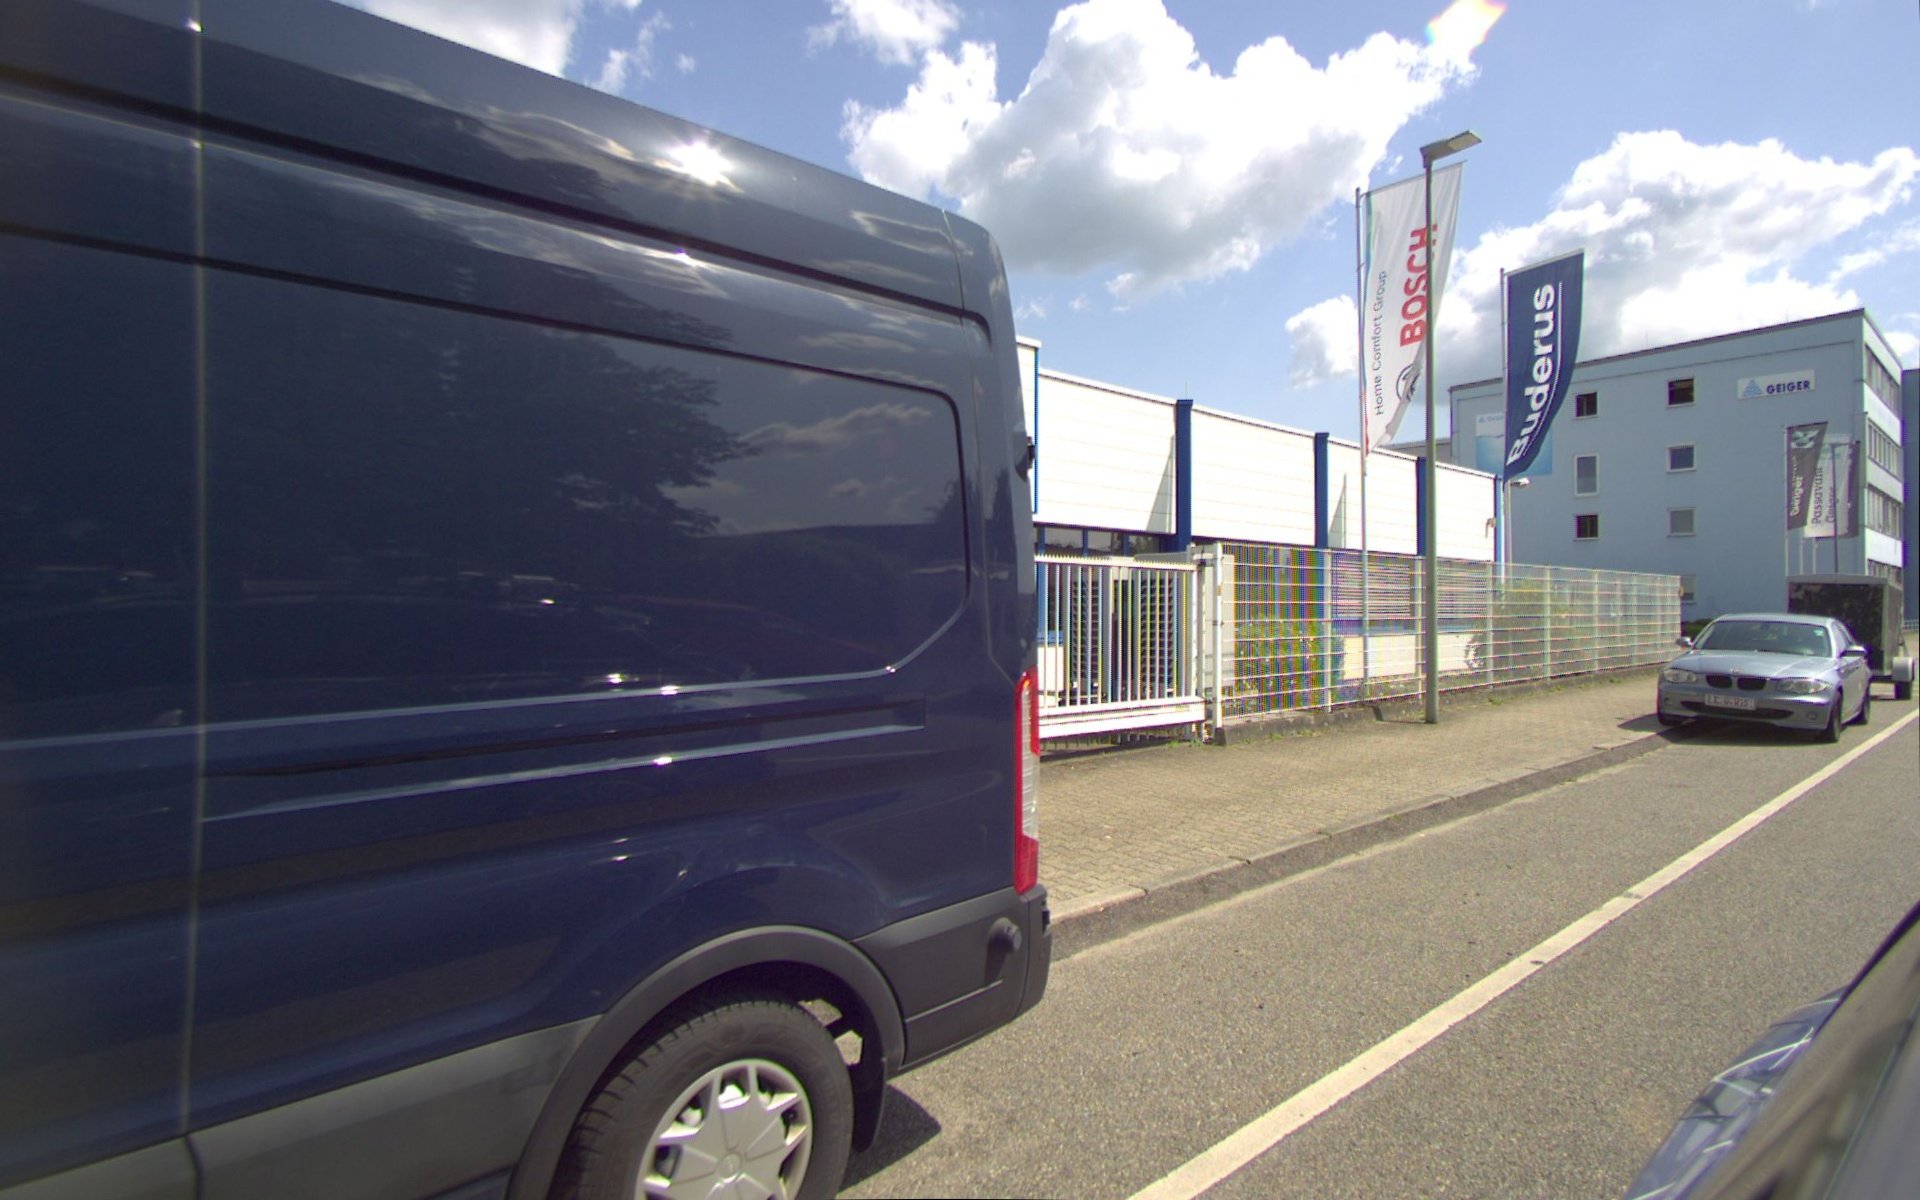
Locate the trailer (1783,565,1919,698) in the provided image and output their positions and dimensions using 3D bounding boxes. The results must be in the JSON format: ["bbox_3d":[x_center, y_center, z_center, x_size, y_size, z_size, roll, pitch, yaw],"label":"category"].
[{"bbox_3d":[15.312,0.495,17.206,2.693,2.063,1.603,0,-1,-42],"label":"trailer"}]

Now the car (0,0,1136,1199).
[{"bbox_3d":[-2.402,0.033,1.567,6.048,2.783,1.940,0,0,-42],"label":"car"}]

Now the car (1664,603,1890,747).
[{"bbox_3d":[10.379,0.803,12.753,4.061,1.526,1.574,0,0,-42],"label":"car"}]
